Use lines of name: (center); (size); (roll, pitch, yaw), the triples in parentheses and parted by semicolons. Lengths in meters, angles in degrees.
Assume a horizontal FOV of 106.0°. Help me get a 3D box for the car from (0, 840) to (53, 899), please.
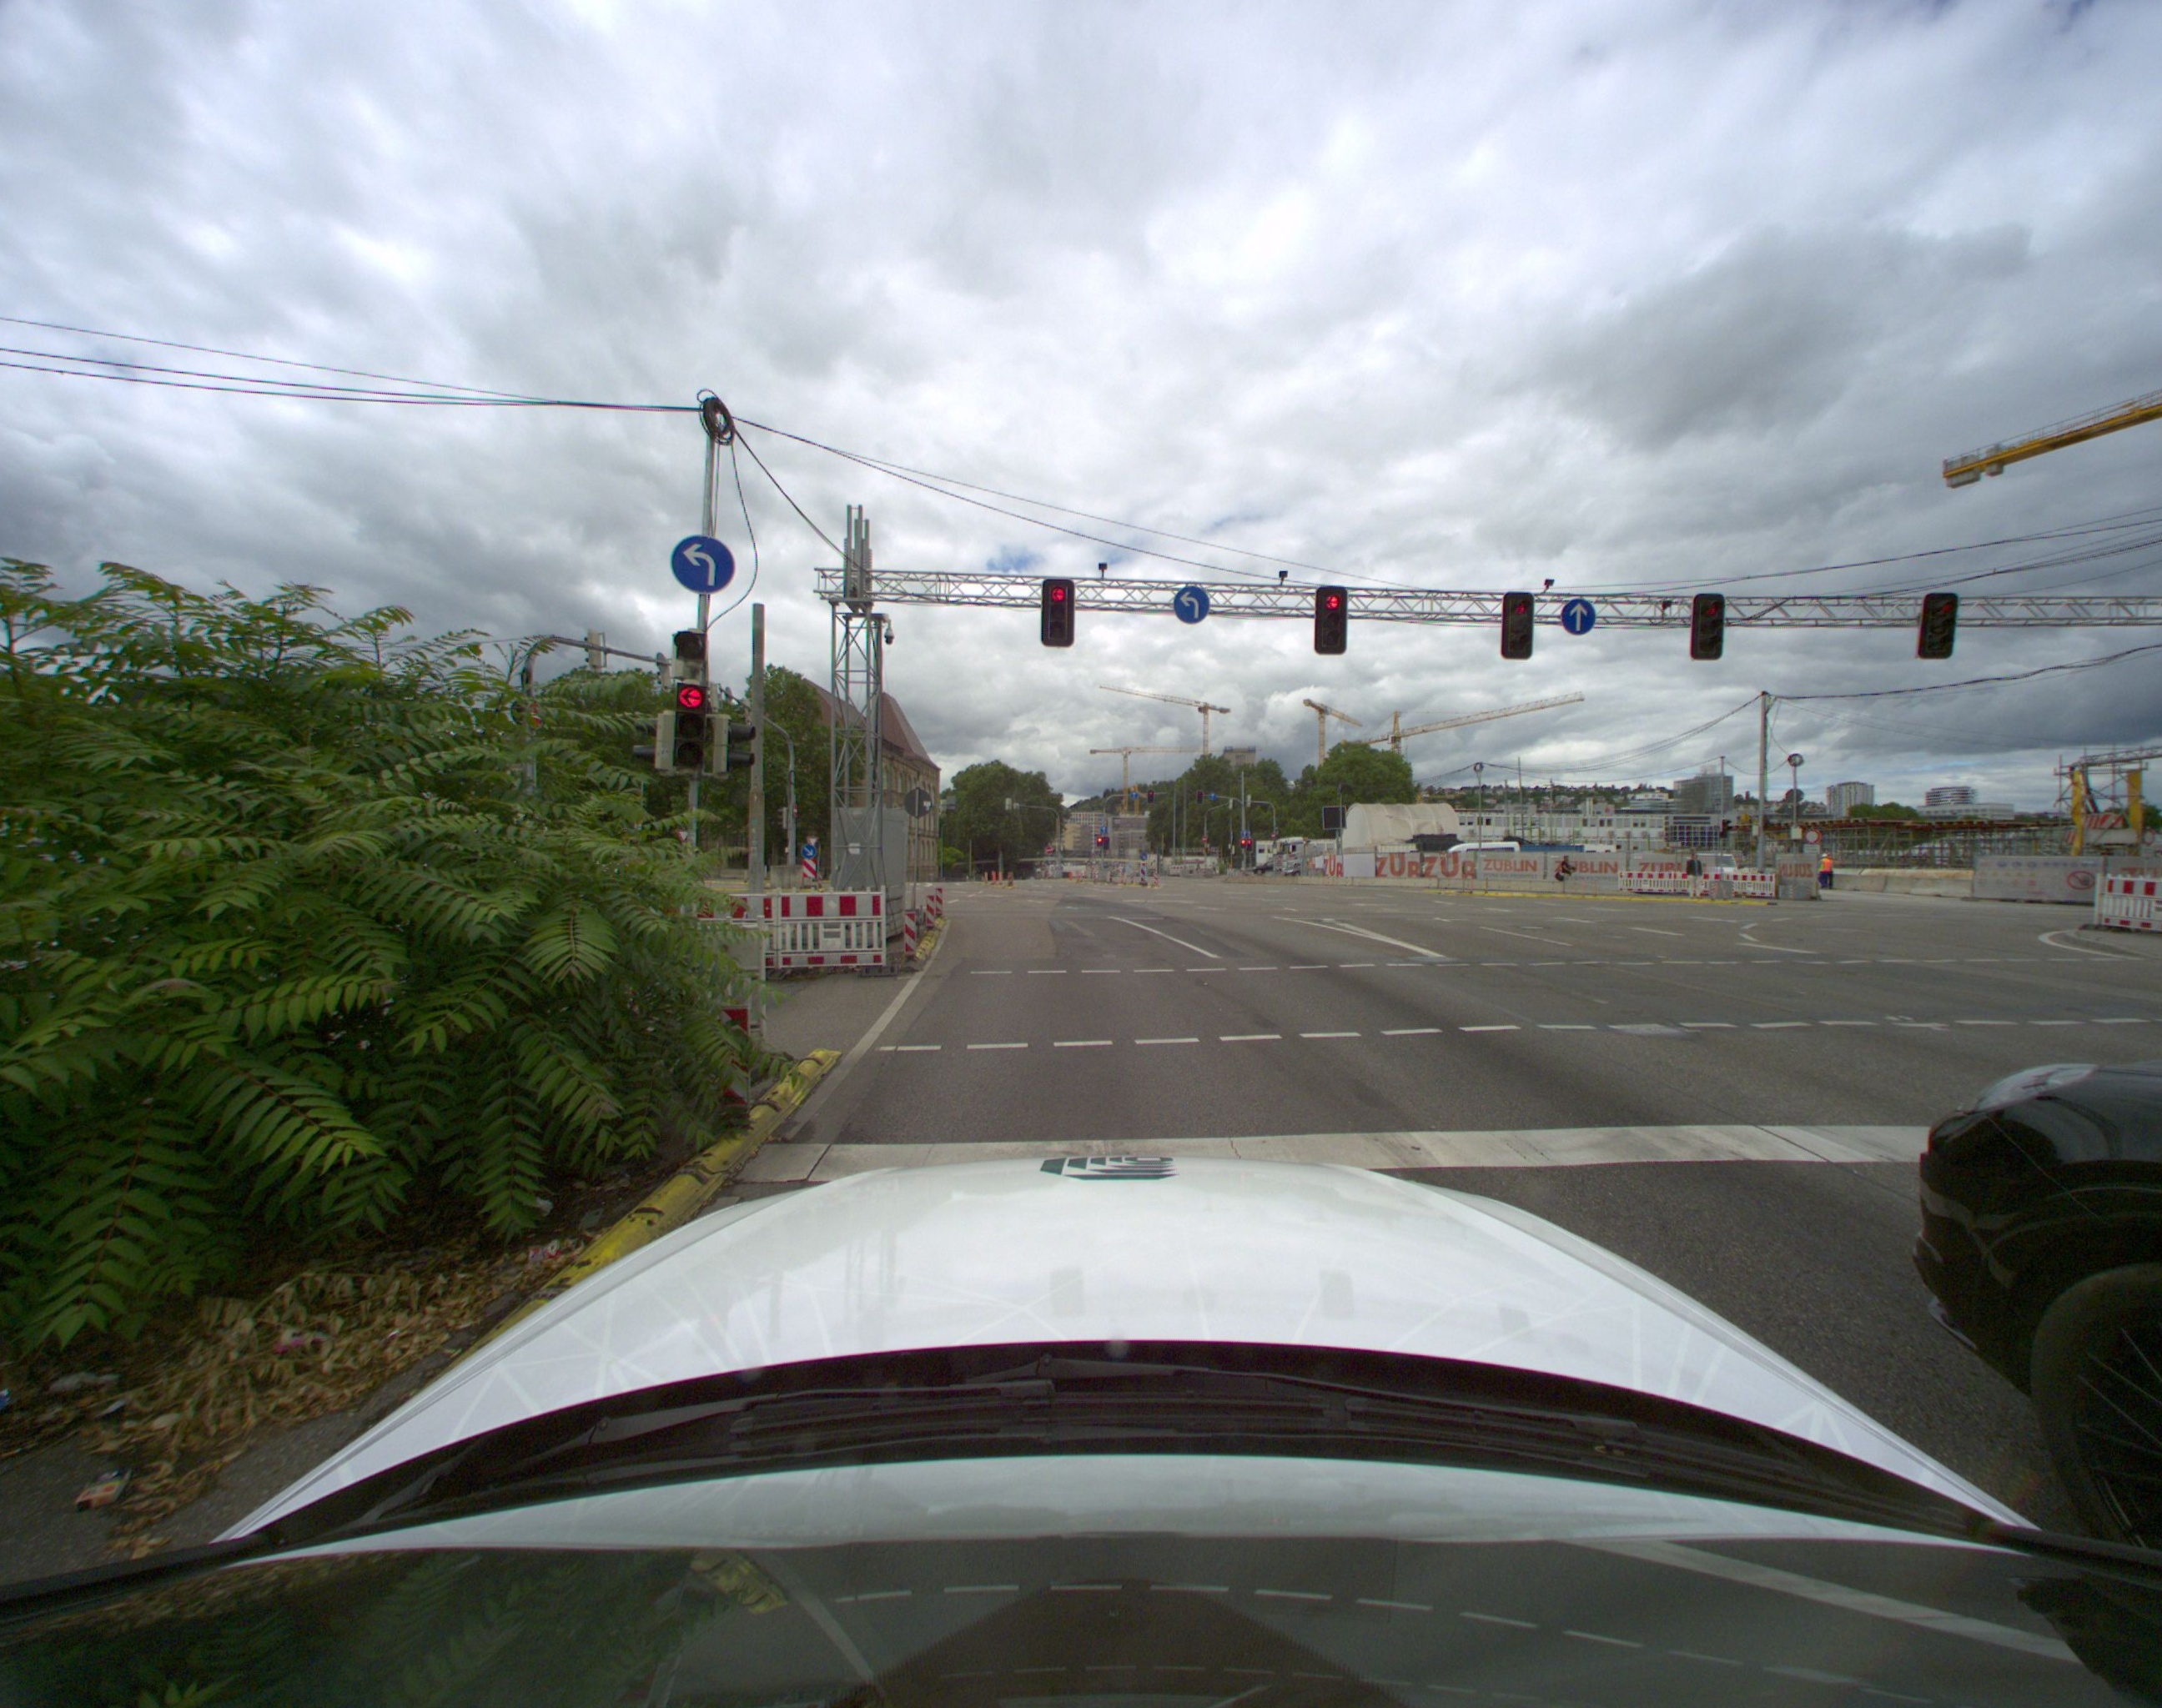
car: (-32.932, 0.442, 23.297); (4.302, 1.676, 1.998); (0, 0, -3)

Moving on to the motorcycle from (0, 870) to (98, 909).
motorcycle: (-25.473, 0.855, 19.807); (2.051, 0.924, 0.756); (0, 0, -4)

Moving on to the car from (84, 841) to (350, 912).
car: (-21.297, 0.529, 20.249); (4.302, 1.676, 1.998); (0, 0, -3)

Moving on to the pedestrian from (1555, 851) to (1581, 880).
pedestrian: (23.287, 0.534, 38.958); (0.893, 1.378, 0.804); (0, 0, 45)

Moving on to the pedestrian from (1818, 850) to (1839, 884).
pedestrian: (38.428, 0.664, 41.859); (0.651, 1.717, 0.516); (0, 0, -9)

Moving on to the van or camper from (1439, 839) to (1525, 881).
van or camper: (23.149, 0.360, 47.199); (4.181, 2.357, 2.009); (0, 0, 16)

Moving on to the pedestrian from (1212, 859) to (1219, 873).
pedestrian: (15.588, 1.412, 94.704); (0.726, 1.689, 0.678); (0, 0, 1)

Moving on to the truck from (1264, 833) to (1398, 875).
truck: (25.034, -0.028, 81.586); (13.062, 4.041, 3.926); (0, 0, -18)

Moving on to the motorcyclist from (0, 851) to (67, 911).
motorcyclist: (-25.618, 0.644, 19.792); (0.963, 1.423, 0.745); (0, 0, -4)

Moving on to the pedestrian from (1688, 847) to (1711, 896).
pedestrian: (25.645, 0.721, 33.775); (0.645, 2.013, 0.520); (0, 0, 27)

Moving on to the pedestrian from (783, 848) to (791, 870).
pedestrian: (-26.727, 0.426, 74.112); (0.530, 2.014, 0.423); (1, -1, -42)

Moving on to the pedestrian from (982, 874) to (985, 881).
pedestrian: (-21.087, 5.095, 175.612); (0.534, 1.592, 0.515); (0, 0, -2)

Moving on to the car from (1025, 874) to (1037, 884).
car: (-10.993, 5.470, 180.361); (1.983, 2.013, 4.007); (0, 0, 6)

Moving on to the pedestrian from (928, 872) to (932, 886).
pedestrian: (-21.633, 3.531, 116.792); (0.522, 2.014, 0.567); (0, 0, 2)

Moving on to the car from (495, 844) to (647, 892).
car: (-18.820, 0.504, 30.244); (4.315, 1.676, 1.992); (0, 0, -12)

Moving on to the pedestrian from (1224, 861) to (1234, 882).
pedestrian: (12.248, 1.433, 67.308); (0.726, 1.689, 0.678); (0, 0, 1)

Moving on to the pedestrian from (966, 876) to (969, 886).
pedestrian: (-21.550, 5.132, 154.632); (0.522, 2.014, 0.567); (0, 0, 2)
